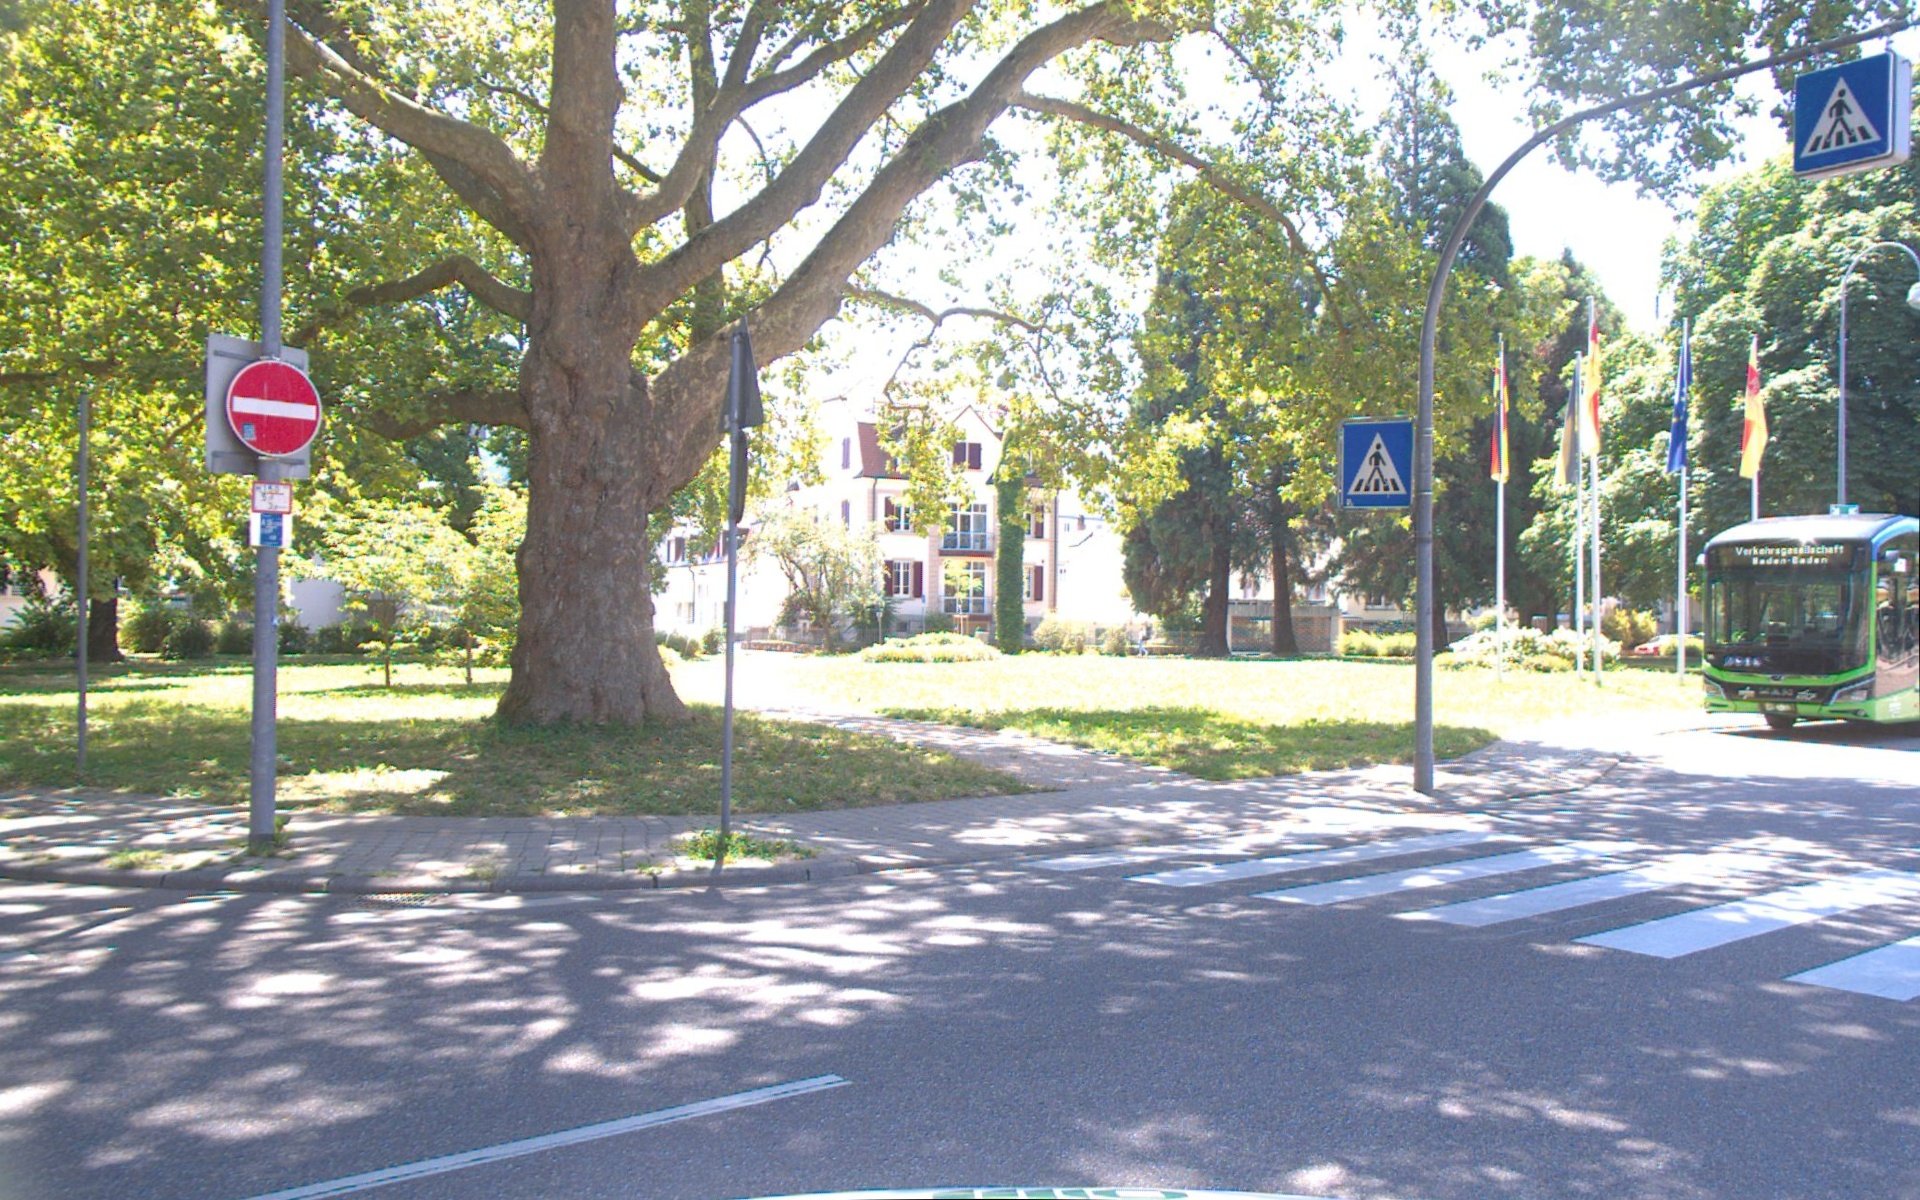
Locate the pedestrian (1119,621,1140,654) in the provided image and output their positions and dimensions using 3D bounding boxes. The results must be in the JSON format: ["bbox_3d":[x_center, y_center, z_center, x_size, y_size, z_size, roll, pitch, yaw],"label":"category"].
[{"bbox_3d":[7.485,1.670,73.130,0.807,1.394,0.619,3,0,9],"label":"pedestrian"}]

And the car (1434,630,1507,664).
[{"bbox_3d":[29.876,2.754,96.740,3.945,1.782,1.858,3,0,-30],"label":"car"}]

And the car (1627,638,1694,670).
[{"bbox_3d":[44.138,3.399,104.135,3.945,1.870,1.858,3,0,-30],"label":"car"}]

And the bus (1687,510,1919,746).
[{"bbox_3d":[16.696,0.499,28.518,12.314,3.340,2.775,1,-1,-42],"label":"bus"}]
